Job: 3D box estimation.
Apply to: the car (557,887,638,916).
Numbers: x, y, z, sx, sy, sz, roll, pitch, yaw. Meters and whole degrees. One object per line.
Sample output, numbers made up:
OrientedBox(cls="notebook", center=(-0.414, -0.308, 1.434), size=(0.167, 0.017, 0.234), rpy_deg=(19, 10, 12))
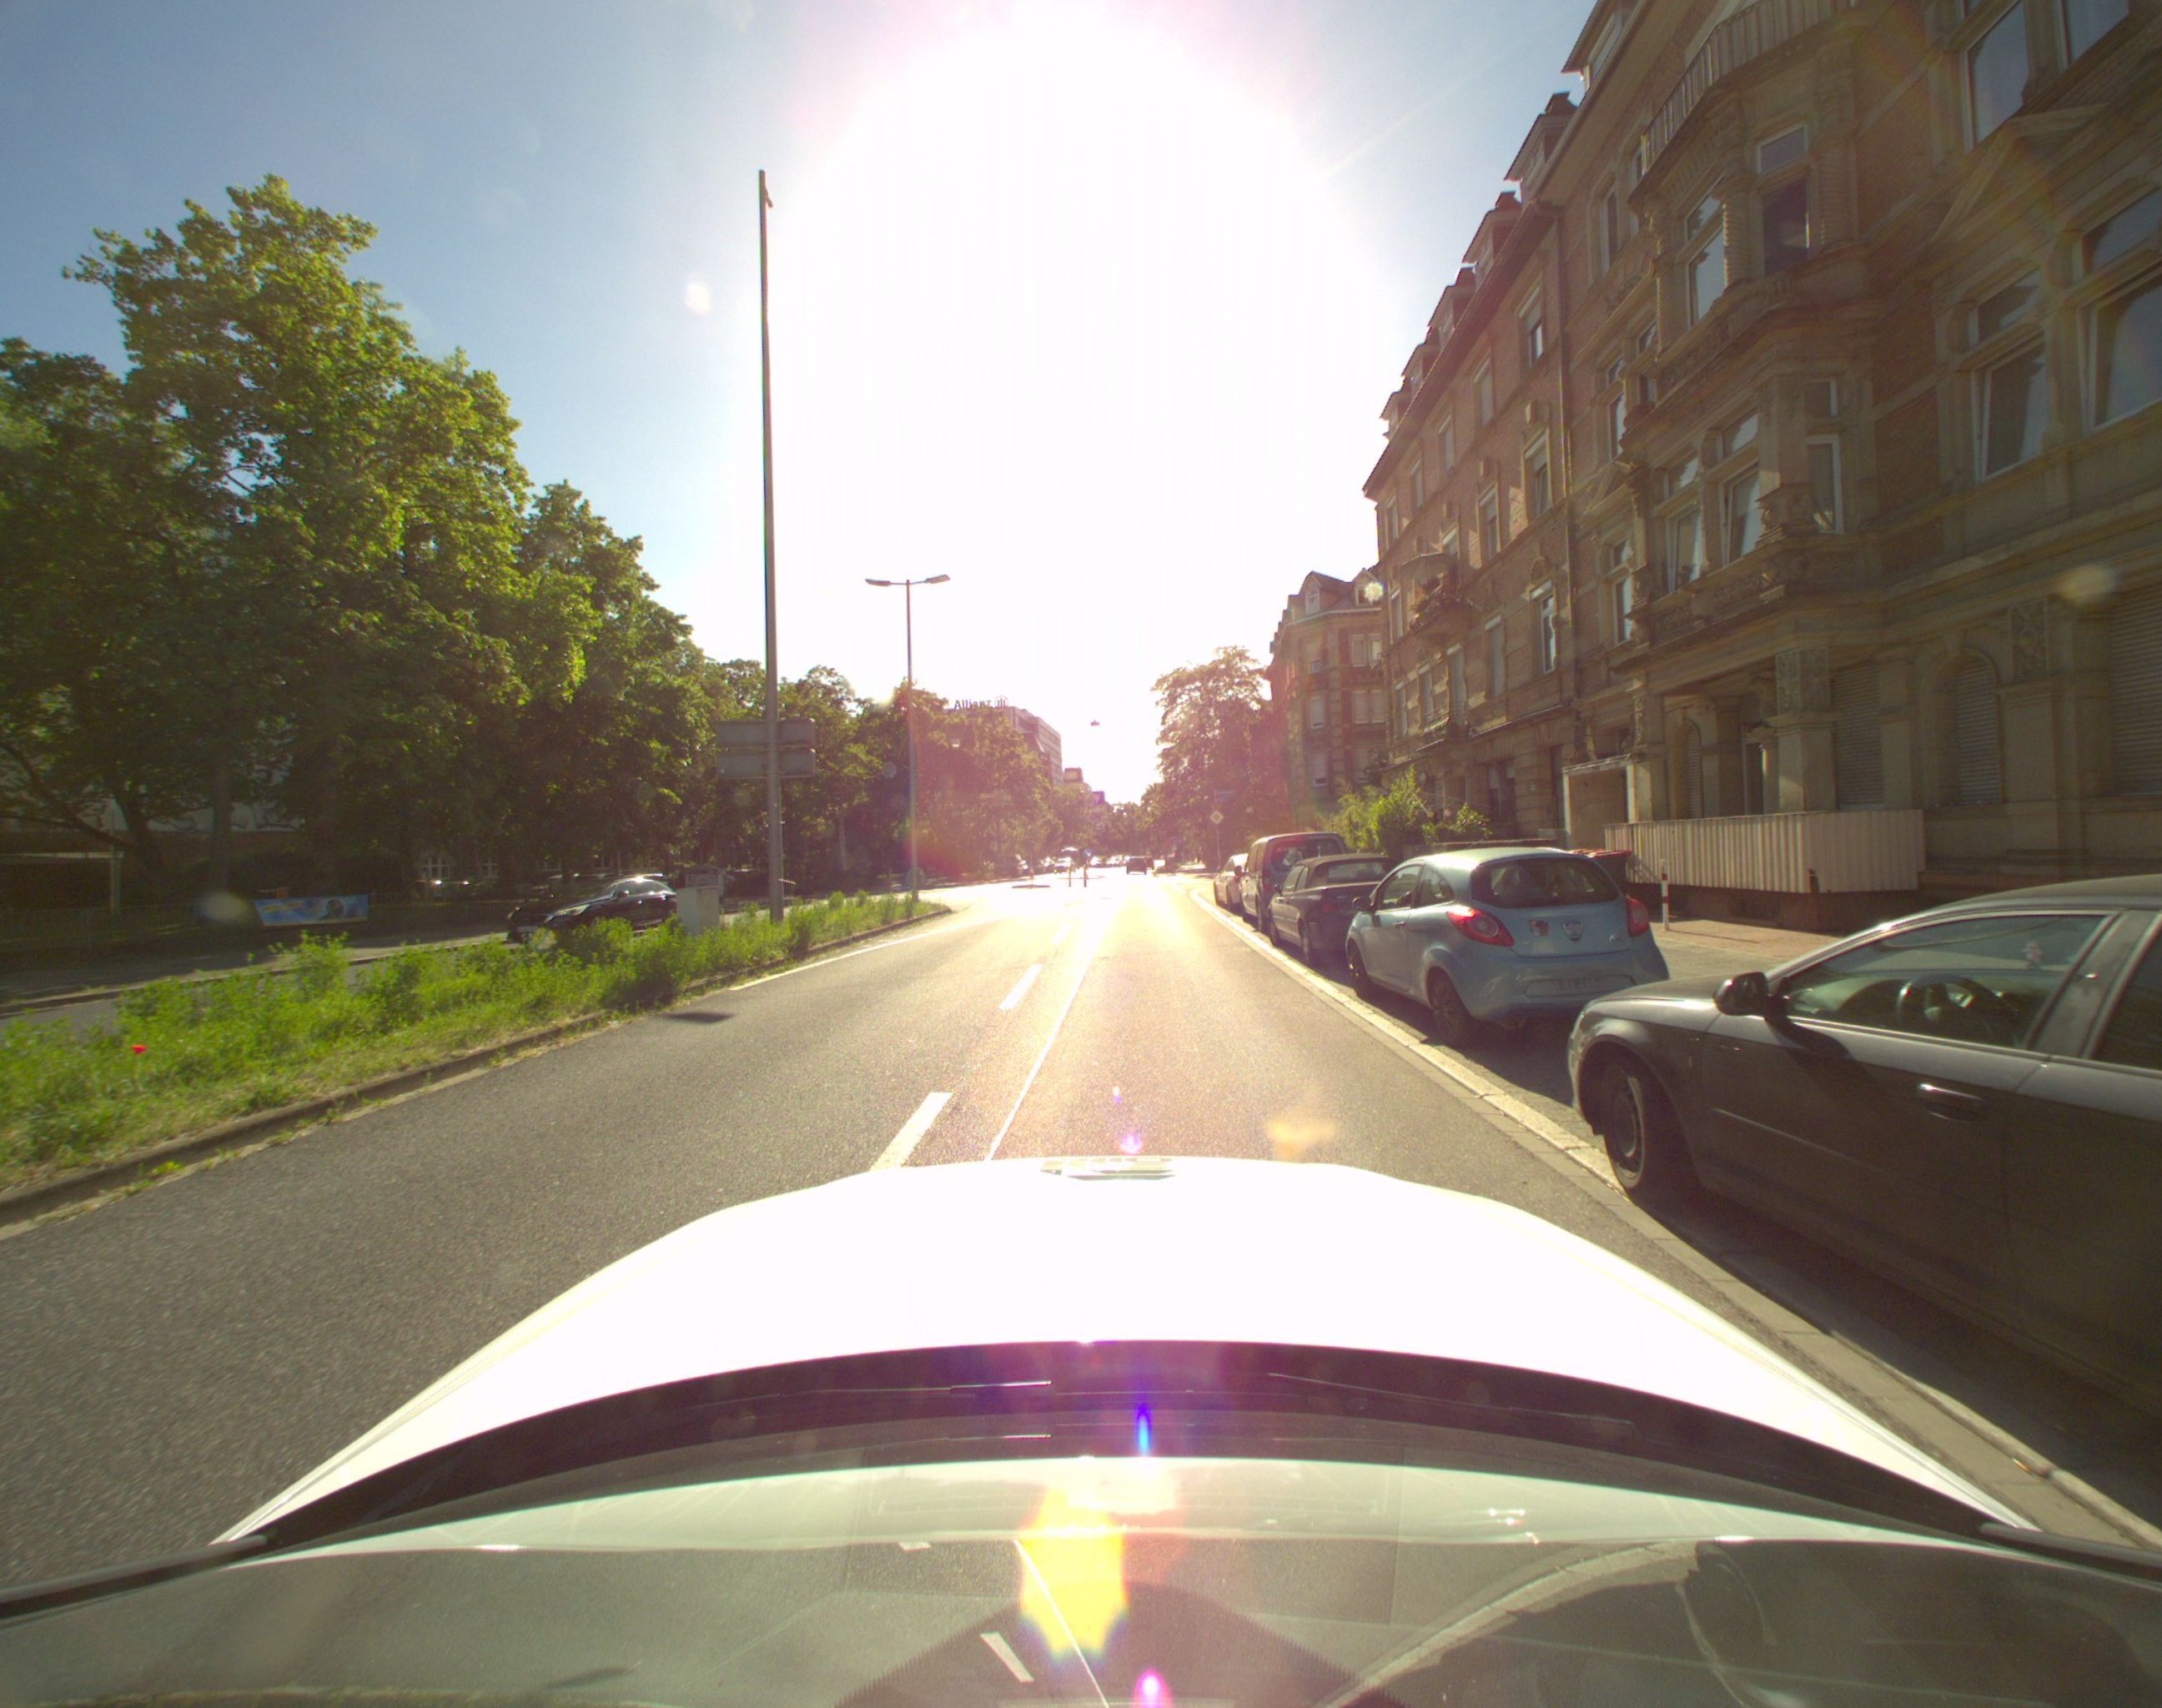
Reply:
OrientedBox(cls="car", center=(-26.298, 2.596, 44.451), size=(1.837, 1.491, 4.003), rpy_deg=(-1, -3, 3))

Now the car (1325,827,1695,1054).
OrientedBox(cls="car", center=(3.532, 0.595, 7.417), size=(1.615, 1.470, 3.300), rpy_deg=(-5, 0, 2))

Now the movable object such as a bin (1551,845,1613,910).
OrientedBox(cls="movable object such as a bin", center=(9.186, 0.444, 14.957), size=(0.719, 1.157, 0.609), rpy_deg=(-1, -3, 4))

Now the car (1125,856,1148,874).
OrientedBox(cls="car", center=(4.830, 0.962, 70.696), size=(1.885, 1.519, 4.006), rpy_deg=(0, 0, 5))

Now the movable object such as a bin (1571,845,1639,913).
OrientedBox(cls="movable object such as a bin", center=(9.094, 0.440, 14.158), size=(0.755, 1.157, 0.609), rpy_deg=(-1, -3, 4))

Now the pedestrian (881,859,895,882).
OrientedBox(cls="pedestrian", center=(-13.854, 1.194, 58.452), size=(0.662, 1.626, 0.720), rpy_deg=(-2, 0, 36))

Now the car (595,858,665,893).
OrientedBox(cls="car", center=(-31.639, 1.568, 57.328), size=(1.837, 2.324, 4.988), rpy_deg=(-1, -3, 4))

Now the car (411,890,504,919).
OrientedBox(cls="car", center=(-34.203, 2.740, 44.832), size=(1.837, 1.491, 4.003), rpy_deg=(-1, -3, 3))

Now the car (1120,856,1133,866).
OrientedBox(cls="car", center=(8.127, 1.228, 145.268), size=(1.628, 1.519, 4.042), rpy_deg=(-2, 0, 10))

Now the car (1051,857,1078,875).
OrientedBox(cls="car", center=(-1.593, 1.101, 78.044), size=(1.748, 1.519, 3.871), rpy_deg=(-3, 1, 10))

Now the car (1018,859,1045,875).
OrientedBox(cls="car", center=(-4.912, 1.294, 81.727), size=(1.748, 1.519, 3.870), rpy_deg=(-2, 0, 10))

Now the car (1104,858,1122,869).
OrientedBox(cls="car", center=(4.482, 1.384, 113.944), size=(1.773, 1.460, 4.427), rpy_deg=(-1, -1, 10))

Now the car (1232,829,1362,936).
OrientedBox(cls="car", center=(4.273, 0.492, 16.746), size=(1.810, 1.844, 4.370), rpy_deg=(-2, 0, 5))

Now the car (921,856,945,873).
OrientedBox(cls="car", center=(-15.464, 1.104, 84.893), size=(1.980, 1.662, 3.976), rpy_deg=(-2, 0, -17))

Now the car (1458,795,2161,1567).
OrientedBox(cls="car", center=(3.083, 0.600, 2.405), size=(1.928, 1.519, 4.485), rpy_deg=(-2, 0, 2))

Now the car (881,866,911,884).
OrientedBox(cls="car", center=(-18.584, 2.071, 81.749), size=(1.986, 1.662, 3.965), rpy_deg=(-2, 0, -27))

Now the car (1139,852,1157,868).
OrientedBox(cls="car", center=(7.595, 0.653, 91.809), size=(1.809, 1.740, 4.008), rpy_deg=(-2, 0, 7))

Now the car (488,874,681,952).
OrientedBox(cls="car", center=(-11.661, 1.309, 19.559), size=(1.789, 1.519, 4.425), rpy_deg=(-1, 0, 2))

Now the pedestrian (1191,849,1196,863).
OrientedBox(cls="pedestrian", center=(16.850, 0.295, 122.080), size=(0.612, 2.013, 0.681), rpy_deg=(-2, 0, 3))

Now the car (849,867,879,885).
OrientedBox(cls="car", center=(-21.417, 2.164, 80.177), size=(1.987, 1.662, 3.963), rpy_deg=(-2, 0, -28))

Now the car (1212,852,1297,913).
OrientedBox(cls="car", center=(4.546, 0.686, 21.918), size=(1.701, 1.425, 4.211), rpy_deg=(-2, 0, 5))

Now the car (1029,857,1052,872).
OrientedBox(cls="car", center=(-4.203, 1.054, 85.300), size=(1.513, 1.432, 3.565), rpy_deg=(-2, 0, 12))

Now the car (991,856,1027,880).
OrientedBox(cls="car", center=(-6.213, 1.161, 70.558), size=(2.188, 1.929, 4.869), rpy_deg=(-2, 0, 5))

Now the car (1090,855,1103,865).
OrientedBox(cls="car", center=(2.374, 0.916, 124.249), size=(1.793, 1.504, 3.812), rpy_deg=(-2, 0, 4))

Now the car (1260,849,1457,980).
OrientedBox(cls="car", center=(3.678, 0.696, 11.582), size=(1.660, 1.468, 4.280), rpy_deg=(-2, 0, 5))
